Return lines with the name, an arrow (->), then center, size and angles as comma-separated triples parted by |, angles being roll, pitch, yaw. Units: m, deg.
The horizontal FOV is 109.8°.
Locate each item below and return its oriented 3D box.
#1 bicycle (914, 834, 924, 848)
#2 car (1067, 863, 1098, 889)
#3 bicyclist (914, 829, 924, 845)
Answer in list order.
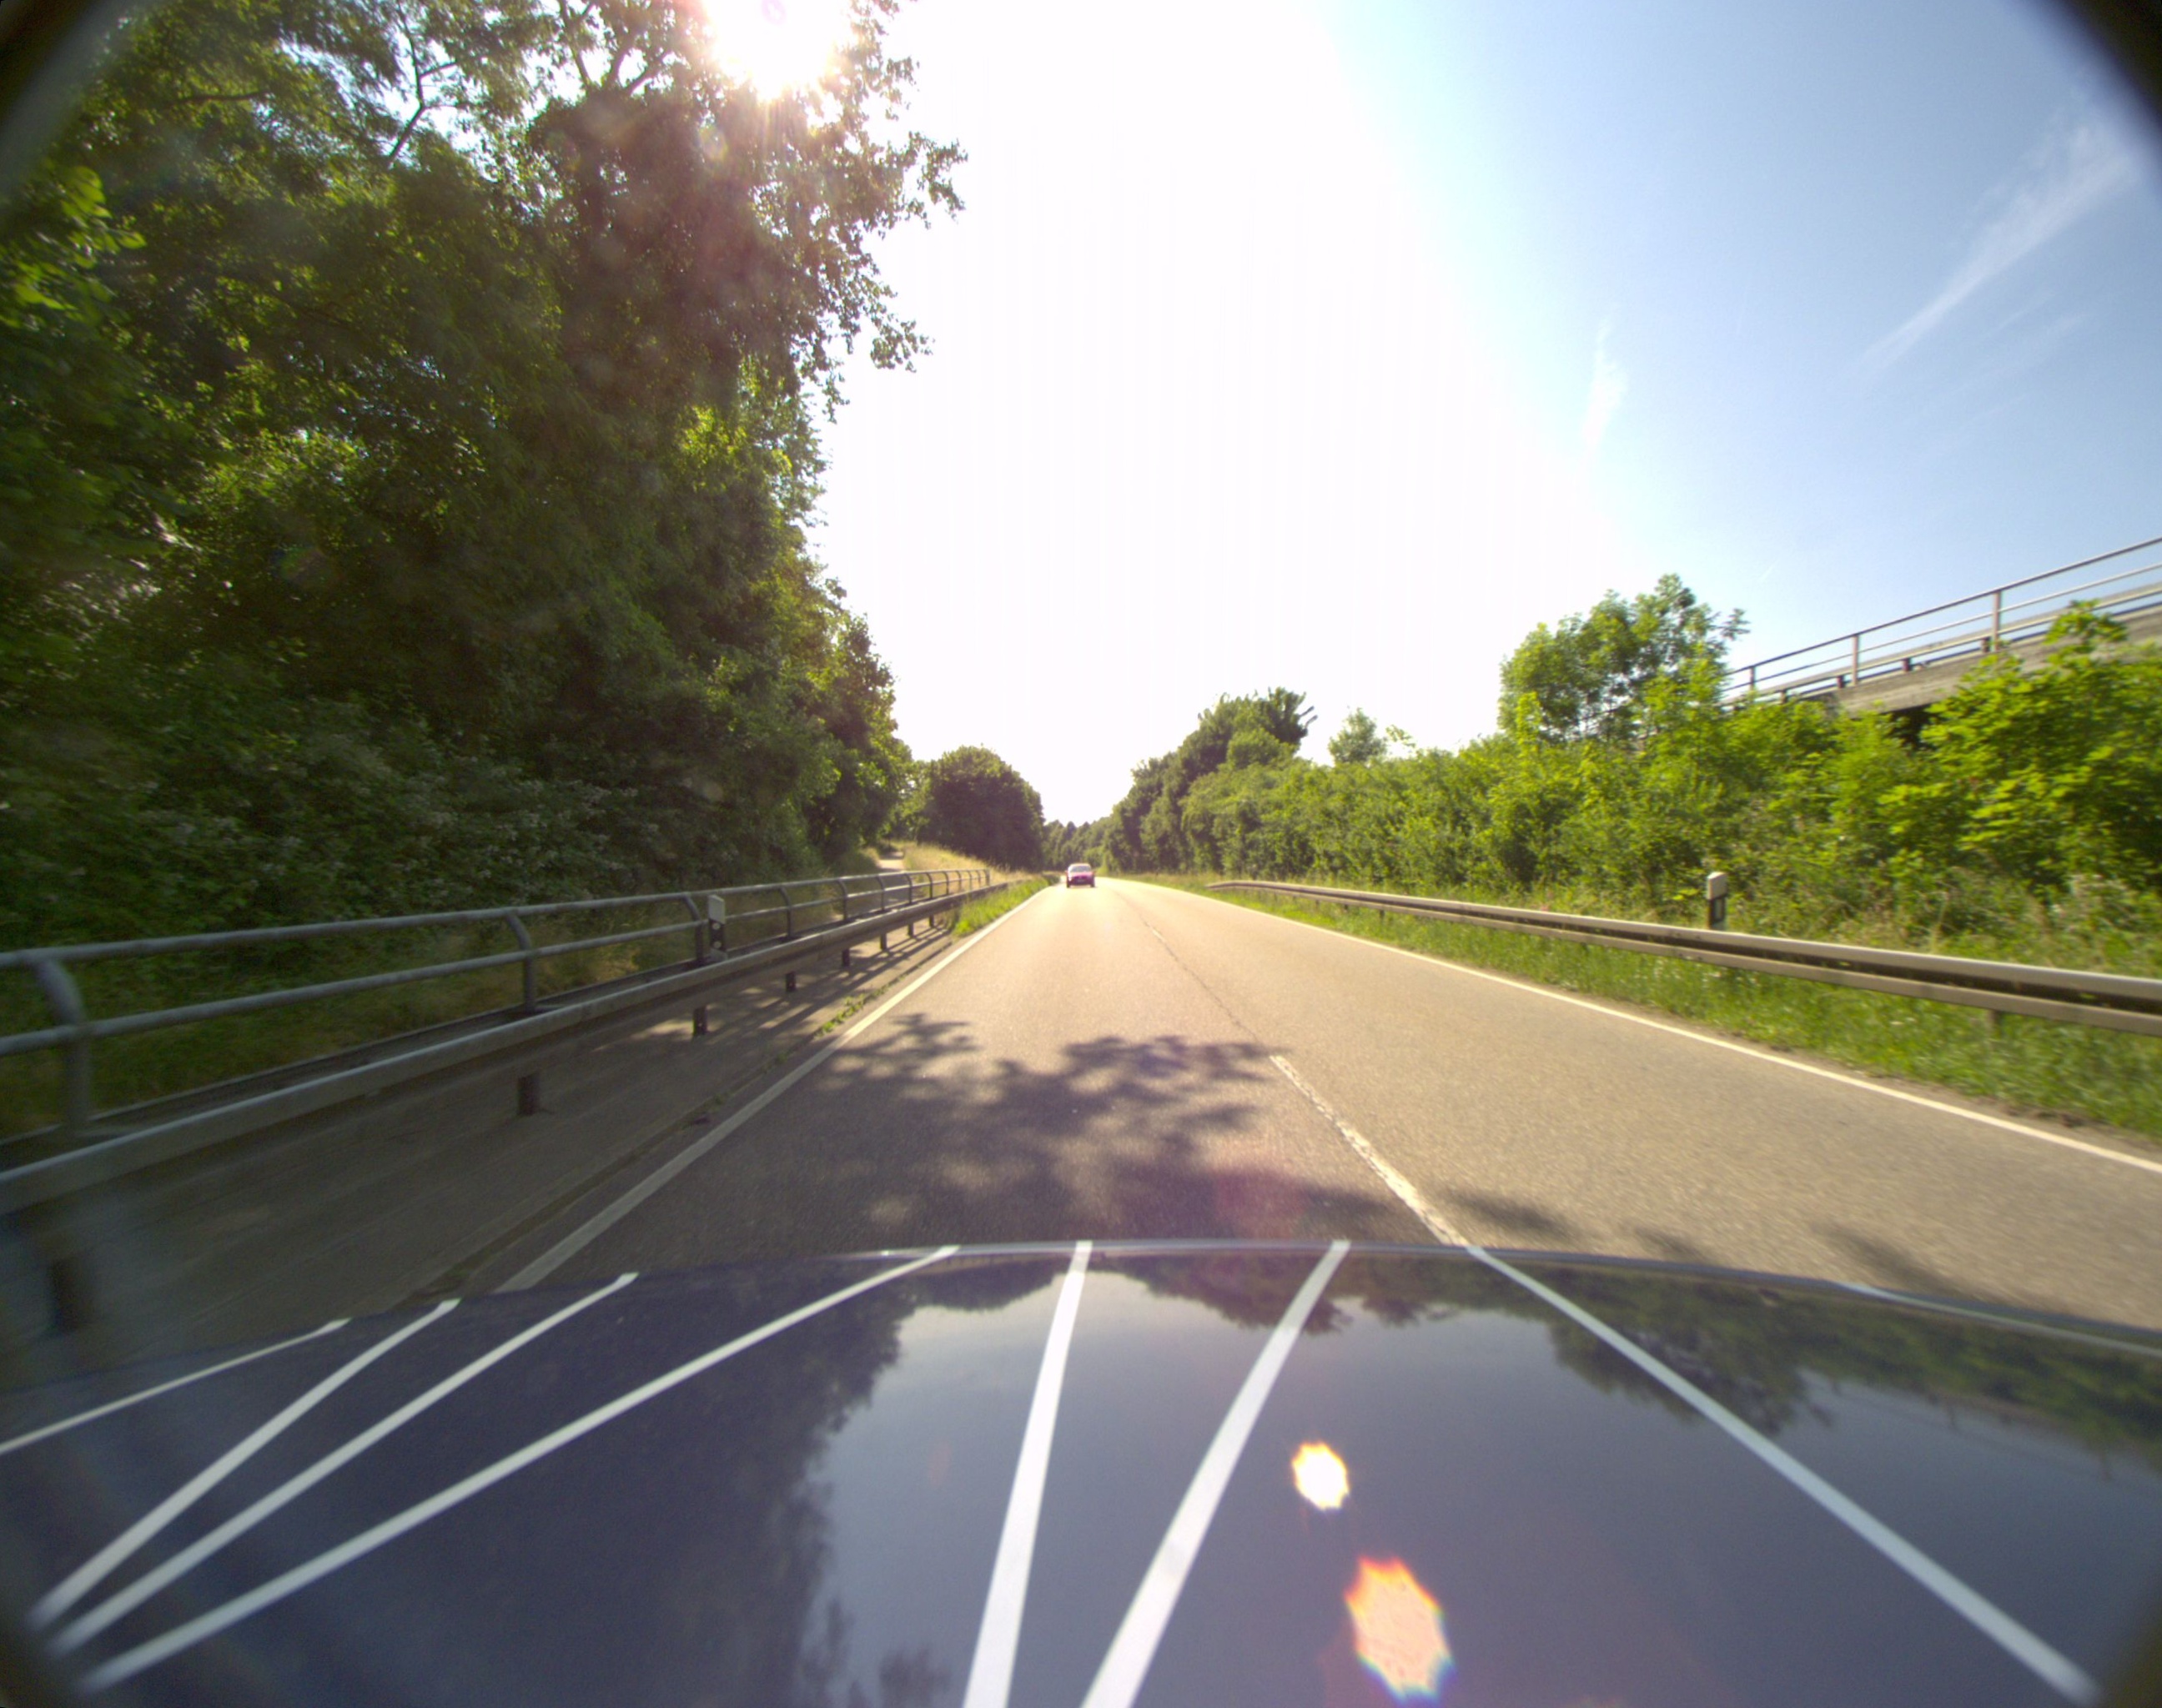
bicycle -> -15.412, -1.250, 72.462 | 0.773, 1.311, 1.727 | -2, 0, -8
car -> 0.048, 1.351, 48.040 | 1.816, 1.488, 4.284 | -1, 1, -1
bicyclist -> -15.442, -1.633, 72.539 | 0.773, 1.416, 0.817 | -2, 0, -7
